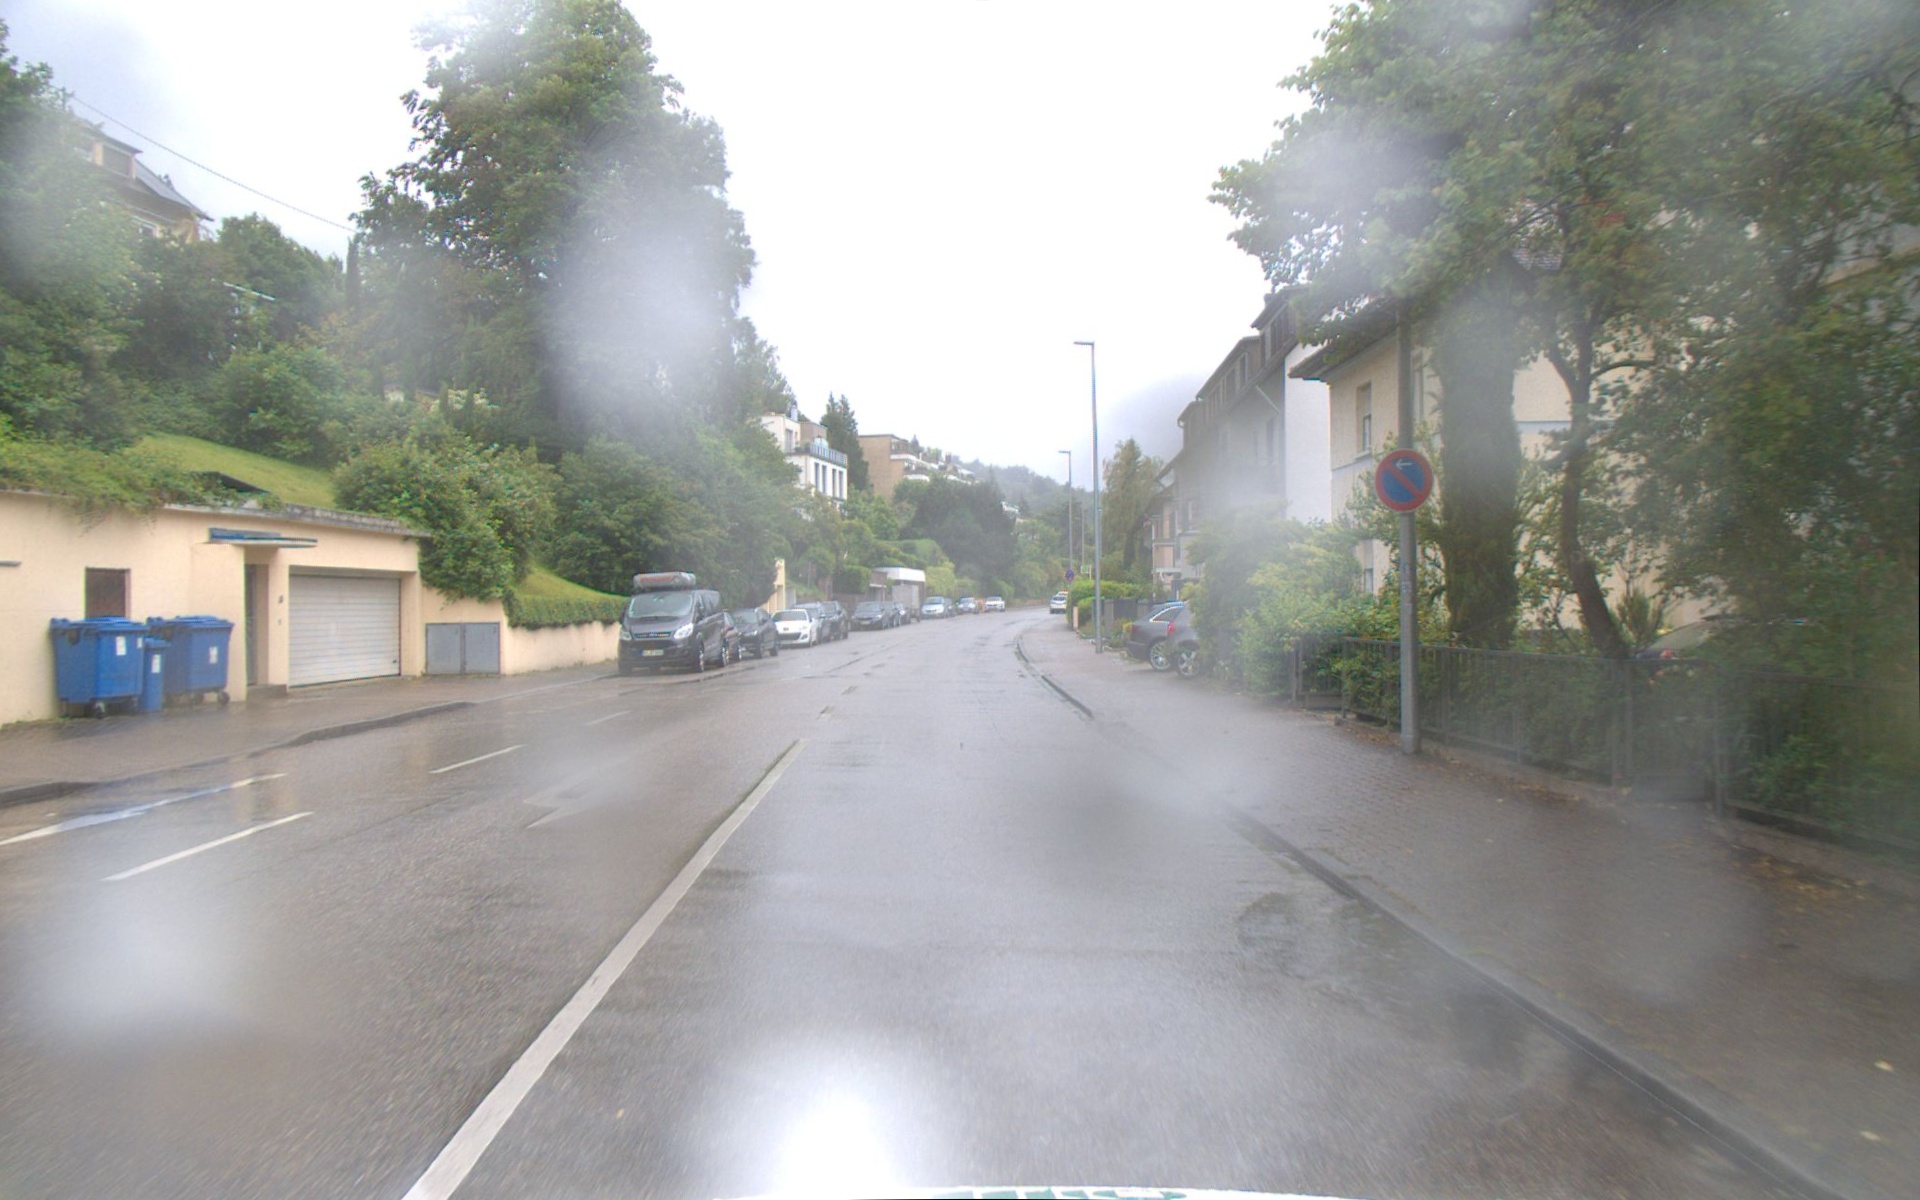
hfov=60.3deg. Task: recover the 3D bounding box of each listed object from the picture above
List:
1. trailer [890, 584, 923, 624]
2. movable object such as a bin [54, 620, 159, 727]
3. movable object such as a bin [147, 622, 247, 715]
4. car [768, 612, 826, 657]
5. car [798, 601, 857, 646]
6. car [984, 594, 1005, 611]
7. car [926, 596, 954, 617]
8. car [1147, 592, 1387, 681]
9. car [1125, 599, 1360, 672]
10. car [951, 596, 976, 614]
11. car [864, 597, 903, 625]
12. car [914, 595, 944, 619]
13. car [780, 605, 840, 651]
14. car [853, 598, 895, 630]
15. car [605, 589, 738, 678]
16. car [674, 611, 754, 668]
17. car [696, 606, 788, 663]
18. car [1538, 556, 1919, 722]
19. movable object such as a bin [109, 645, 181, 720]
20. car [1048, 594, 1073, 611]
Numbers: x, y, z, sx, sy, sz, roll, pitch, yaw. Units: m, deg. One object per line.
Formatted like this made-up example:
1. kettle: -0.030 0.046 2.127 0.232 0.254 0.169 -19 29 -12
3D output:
1. trailer: -3.487 0.255 108.153 1.504 2.441 3.075 -4 0 8
2. movable object such as a bin: -11.849 1.005 22.985 0.803 1.406 1.135 -1 1 4
3. movable object such as a bin: -11.663 1.024 25.323 0.803 1.337 1.403 -1 1 4
4. car: -6.086 1.255 61.967 1.681 1.389 4.084 -4 1 0
5. car: -5.708 0.990 71.842 1.835 1.654 4.595 -5 1 3
6. car: 3.436 0.231 164.258 1.719 1.524 4.223 -3 0 6
7. car: -1.521 0.473 127.744 1.719 1.433 3.707 -5 1 5
8. car: 5.556 0.648 30.083 3.917 1.482 1.767 -1 1 34
9. car: 5.690 0.701 33.450 4.292 1.388 1.913 -1 -1 34
10. car: 0.306 0.408 144.970 1.719 1.426 3.773 -4 0 6
11. car: -4.400 0.608 95.891 1.748 1.439 4.220 -3 1 4
12. car: -2.259 0.513 122.280 1.719 1.565 3.759 -5 1 5
13. car: -6.032 1.108 66.849 1.705 1.588 4.111 -4 0 4
14. car: -4.659 0.719 89.889 1.748 1.480 4.757 -4 1 3
15. car: -6.944 0.751 40.465 2.114 1.952 5.324 -3 0 1
16. car: -6.778 1.070 45.902 1.532 1.388 3.907 -3 0 0
17. car: -6.613 1.016 50.650 1.869 1.506 4.757 -4 0 3
18. car: 9.329 0.452 20.089 3.905 1.607 1.822 5 0 2
19. movable object such as a bin: -11.837 1.192 24.023 0.720 1.060 0.608 -1 0 4
20. car: 8.789 0.207 144.685 1.751 1.485 4.312 -1 0 9
